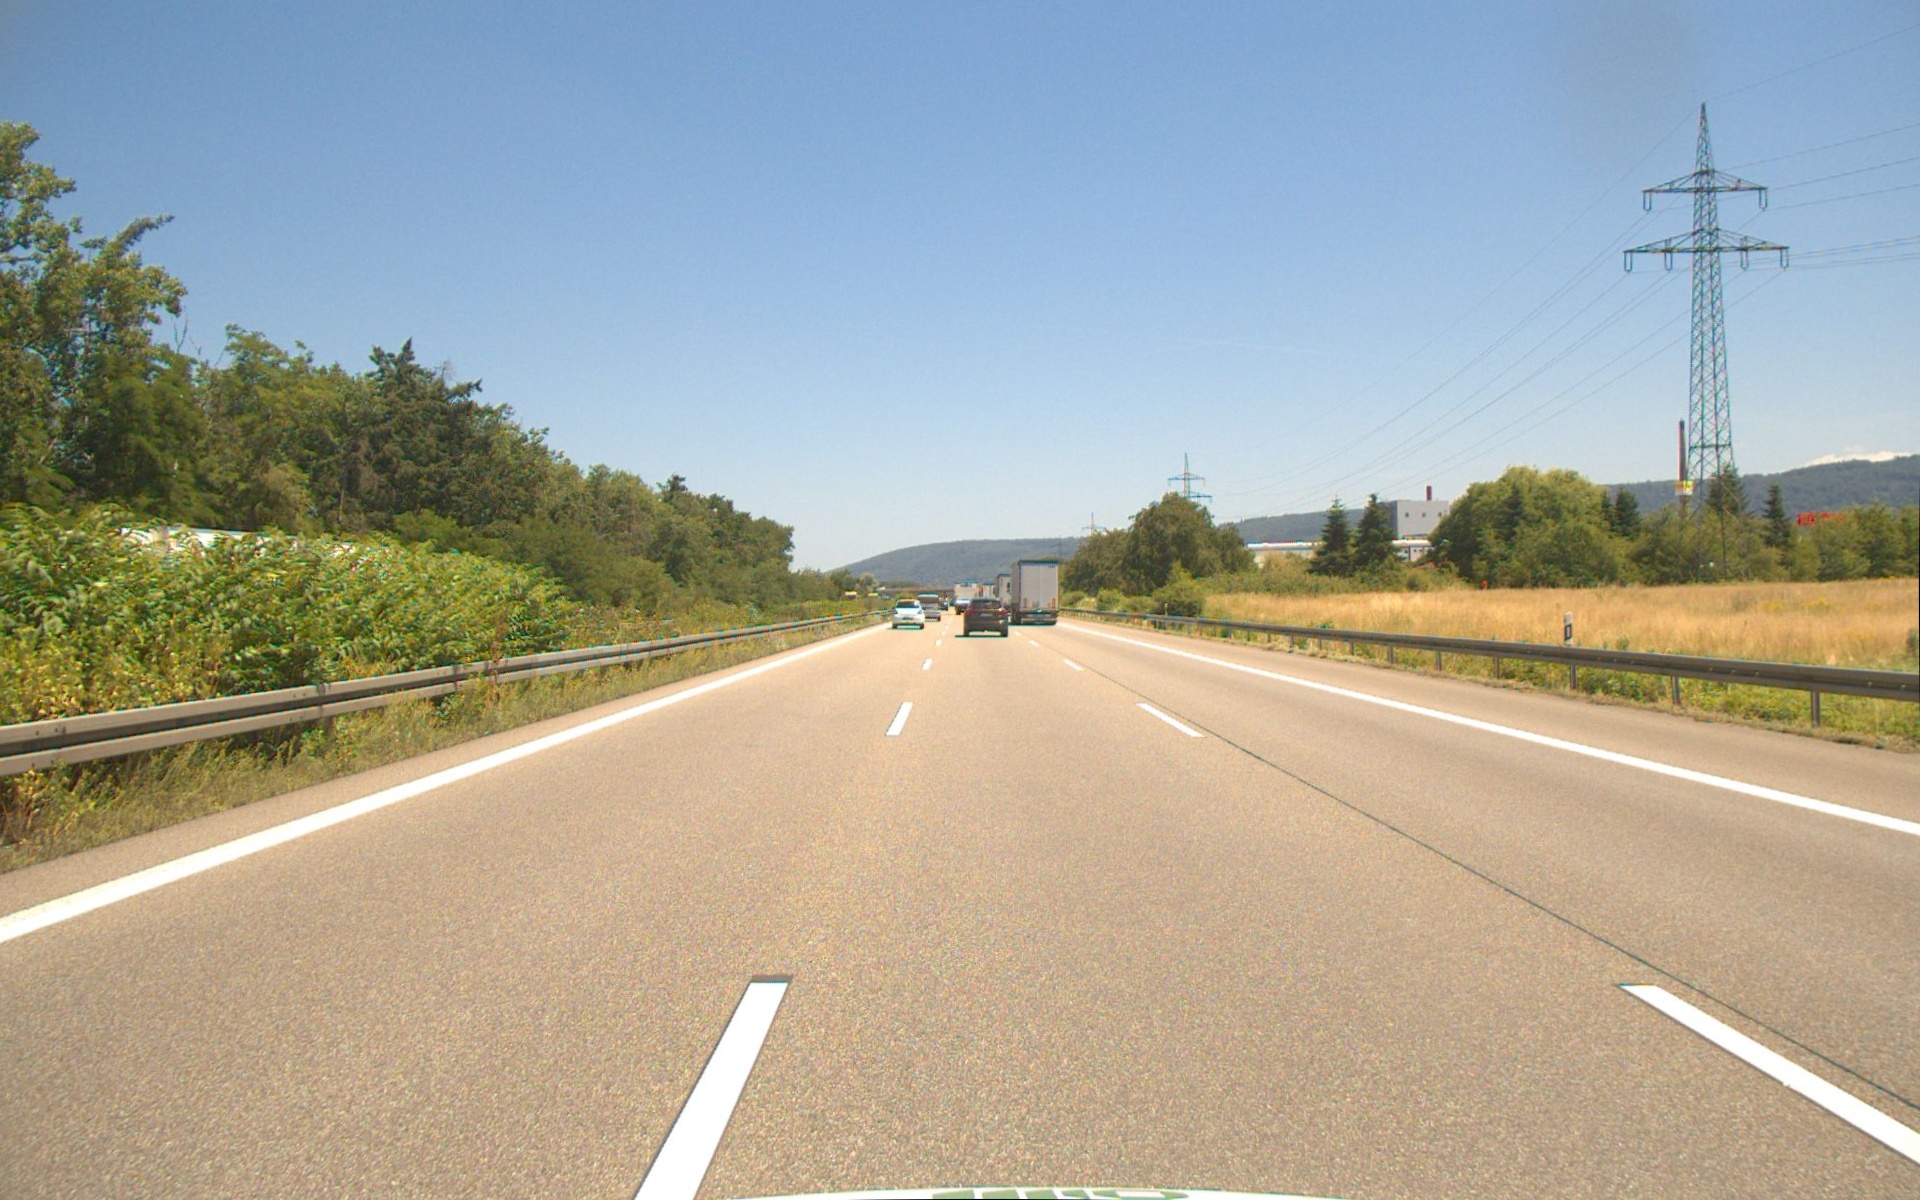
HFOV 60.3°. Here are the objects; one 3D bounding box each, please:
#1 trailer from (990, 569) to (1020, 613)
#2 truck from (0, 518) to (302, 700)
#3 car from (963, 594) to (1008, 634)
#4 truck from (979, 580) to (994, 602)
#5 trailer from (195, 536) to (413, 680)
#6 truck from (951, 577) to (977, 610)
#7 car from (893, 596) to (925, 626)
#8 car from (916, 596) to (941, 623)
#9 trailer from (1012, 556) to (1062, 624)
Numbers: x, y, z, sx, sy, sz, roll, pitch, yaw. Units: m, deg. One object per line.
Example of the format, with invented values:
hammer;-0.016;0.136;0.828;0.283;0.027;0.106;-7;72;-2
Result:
trailer;4.549;-0.878;170.596;2.731;4.236;13.574;-2;0;1
truck;-19.486;0.207;40.705;2.866;3.894;9.274;-1;0;0
car;1.060;0.567;70.235;1.835;1.652;4.003;0;0;0
truck;4.152;-1.399;260.699;2.176;3.265;10.384;-1;0;0
trailer;-19.538;0.235;50.048;2.866;3.894;9.274;-1;0;0
truck;0.399;-0.674;176.697;2.725;3.432;8.127;0;0;0
car;-2.710;0.583;88.169;1.574;1.493;3.999;-2;0;-1
car;-2.300;0.695;121.994;1.725;1.883;3.999;-2;0;-1
trailer;4.992;-0.591;108.746;2.680;4.178;13.121;0;0;0
